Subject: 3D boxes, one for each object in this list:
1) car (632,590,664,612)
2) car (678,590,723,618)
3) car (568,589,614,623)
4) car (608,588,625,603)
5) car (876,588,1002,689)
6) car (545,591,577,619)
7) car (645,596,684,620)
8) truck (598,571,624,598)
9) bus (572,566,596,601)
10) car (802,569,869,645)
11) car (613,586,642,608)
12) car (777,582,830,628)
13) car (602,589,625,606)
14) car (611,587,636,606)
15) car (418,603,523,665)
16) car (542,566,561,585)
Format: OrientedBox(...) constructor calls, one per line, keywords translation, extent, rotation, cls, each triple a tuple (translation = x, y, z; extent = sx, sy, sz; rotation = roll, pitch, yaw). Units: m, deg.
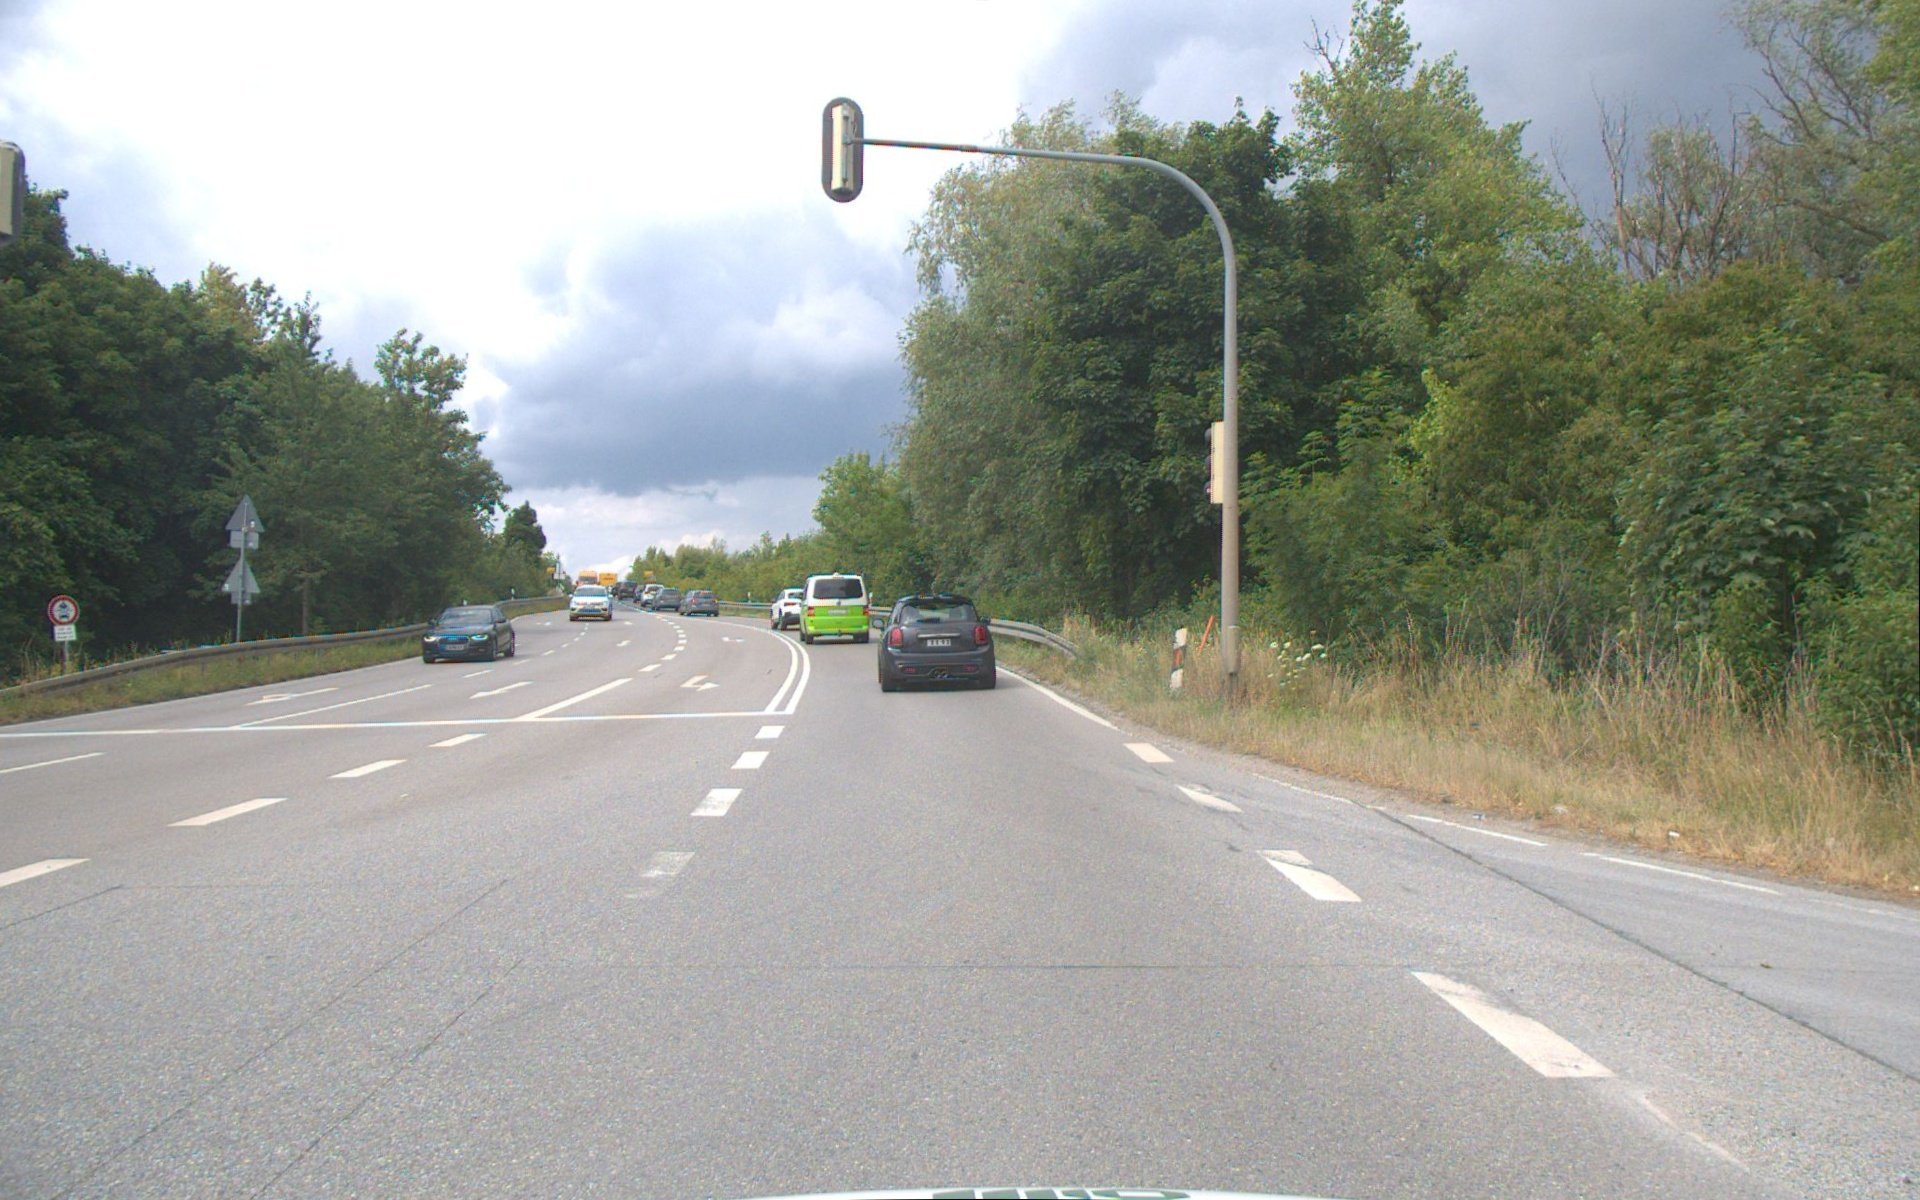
OrientedBox(translation=(-23.113, 0.074, 122.287), extent=(1.961, 1.502, 4.466), rotation=(1, -1, -16), cls="car")
OrientedBox(translation=(-14.724, 0.244, 93.827), extent=(1.961, 1.502, 4.465), rotation=(1, -1, -16), cls="car")
OrientedBox(translation=(-18.153, 0.291, 81.502), extent=(1.957, 1.641, 3.991), rotation=(0, 0, -10), cls="car")
OrientedBox(translation=(-41.107, -0.532, 197.822), extent=(1.959, 1.818, 4.471), rotation=(0, 0, -12), cls="car")
OrientedBox(translation=(-0.331, 0.570, 25.890), extent=(1.807, 1.453, 3.840), rotation=(-1, 0, -1), cls="car")
OrientedBox(translation=(-25.392, 0.290, 105.331), extent=(1.959, 1.720, 3.987), rotation=(0, 0, -13), cls="car")
OrientedBox(translation=(-19.368, 0.513, 108.320), extent=(1.963, 1.502, 4.462), rotation=(1, -1, -18), cls="car")
OrientedBox(translation=(-44.712, -1.939, 211.983), extent=(2.667, 2.949, 8.750), rotation=(2, -3, -9), cls="truck")
OrientedBox(translation=(-36.899, -1.593, 162.144), extent=(1.961, 3.360, 7.398), rotation=(0, 0, -15), cls="bus")
OrientedBox(translation=(-3.713, 0.162, 48.780), extent=(1.810, 2.021, 3.837), rotation=(0, 3, -7), cls="car")
OrientedBox(translation=(-28.041, -0.250, 139.411), extent=(1.962, 1.725, 4.464), rotation=(1, -1, -17), cls="car")
OrientedBox(translation=(-6.091, 0.186, 63.998), extent=(1.955, 1.713, 3.994), rotation=(0, 0, -7), cls="car")
OrientedBox(translation=(-37.409, -0.295, 178.420), extent=(1.962, 1.725, 4.463), rotation=(1, -1, -18), cls="car")
OrientedBox(translation=(-32.240, -0.337, 158.395), extent=(1.961, 1.725, 4.466), rotation=(1, -1, -16), cls="car")
OrientedBox(translation=(-12.698, 0.837, 43.140), extent=(1.704, 1.430, 4.247), rotation=(-2, 1, -4), cls="car")
OrientedBox(translation=(-45.890, -2.718, 185.797), extent=(1.958, 2.049, 3.988), rotation=(0, 0, -12), cls="car")
